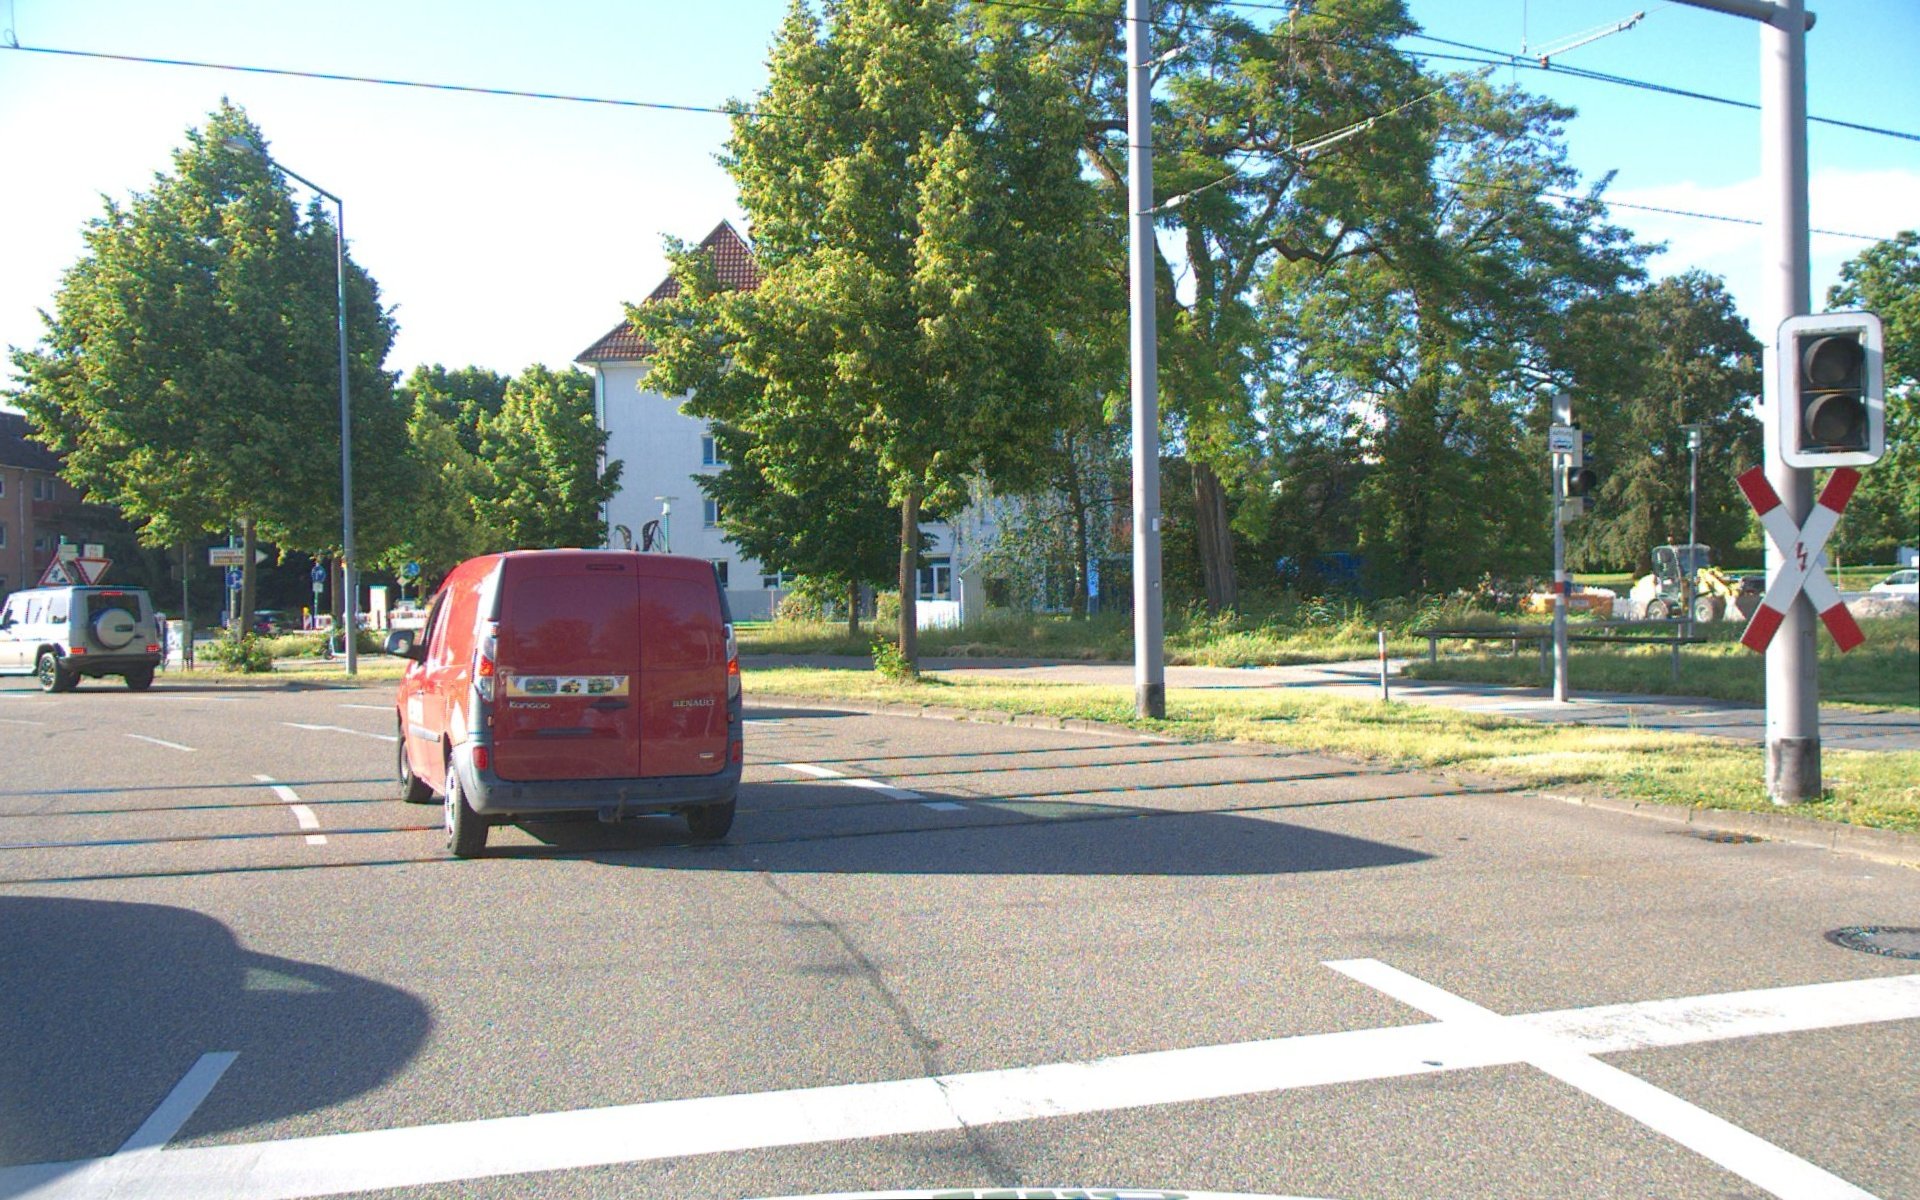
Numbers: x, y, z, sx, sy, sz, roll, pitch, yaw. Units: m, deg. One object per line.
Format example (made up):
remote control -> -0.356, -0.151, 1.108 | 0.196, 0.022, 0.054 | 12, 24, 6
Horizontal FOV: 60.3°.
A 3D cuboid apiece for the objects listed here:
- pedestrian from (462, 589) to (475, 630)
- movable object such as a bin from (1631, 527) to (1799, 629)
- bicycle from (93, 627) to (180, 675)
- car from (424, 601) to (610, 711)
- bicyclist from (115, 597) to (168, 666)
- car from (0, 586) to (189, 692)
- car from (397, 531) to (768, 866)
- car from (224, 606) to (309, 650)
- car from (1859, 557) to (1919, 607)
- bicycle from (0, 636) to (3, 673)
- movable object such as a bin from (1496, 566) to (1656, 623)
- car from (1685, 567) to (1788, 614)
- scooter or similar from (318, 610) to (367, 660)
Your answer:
pedestrian -> -25.040, 0.483, 84.210 | 0.460, 2.049, 0.455 | -1, 0, 8
movable object such as a bin -> 22.483, -0.584, 49.487 | 1.958, 2.838, 5.032 | 0, -1, -12
bicycle -> -22.553, 1.404, 45.318 | 2.156, 1.288, 0.819 | -1, -2, 16
car -> -6.591, 0.787, 24.308 | 1.695, 1.461, 4.111 | 0, -1, -29
bicyclist -> -22.418, 0.866, 45.300 | 1.001, 1.885, 0.813 | -1, -2, 16
car -> -17.274, 0.754, 32.526 | 4.662, 1.930, 1.994 | -2, -1, 39
car -> -2.711, 0.549, 11.222 | 1.779, 1.845, 3.781 | 0, 0, -24
car -> -30.894, 1.256, 73.792 | 1.952, 1.904, 4.001 | 0, -1, 2
car -> 36.080, -0.652, 62.483 | 1.953, 1.753, 3.998 | 0, -1, -1
bicycle -> -27.982, 1.555, 46.244 | 1.968, 1.045, 0.740 | -1, 2, -12
movable object such as a bin -> 22.069, -0.189, 59.372 | 4.913, 1.982, 2.235 | 0, -1, -9
car -> 28.686, -0.326, 61.232 | 1.880, 1.584, 3.949 | 0, -1, -1
scooter or similar -> -16.330, 0.930, 43.728 | 1.235, 1.270, 0.444 | -2, -2, 22
